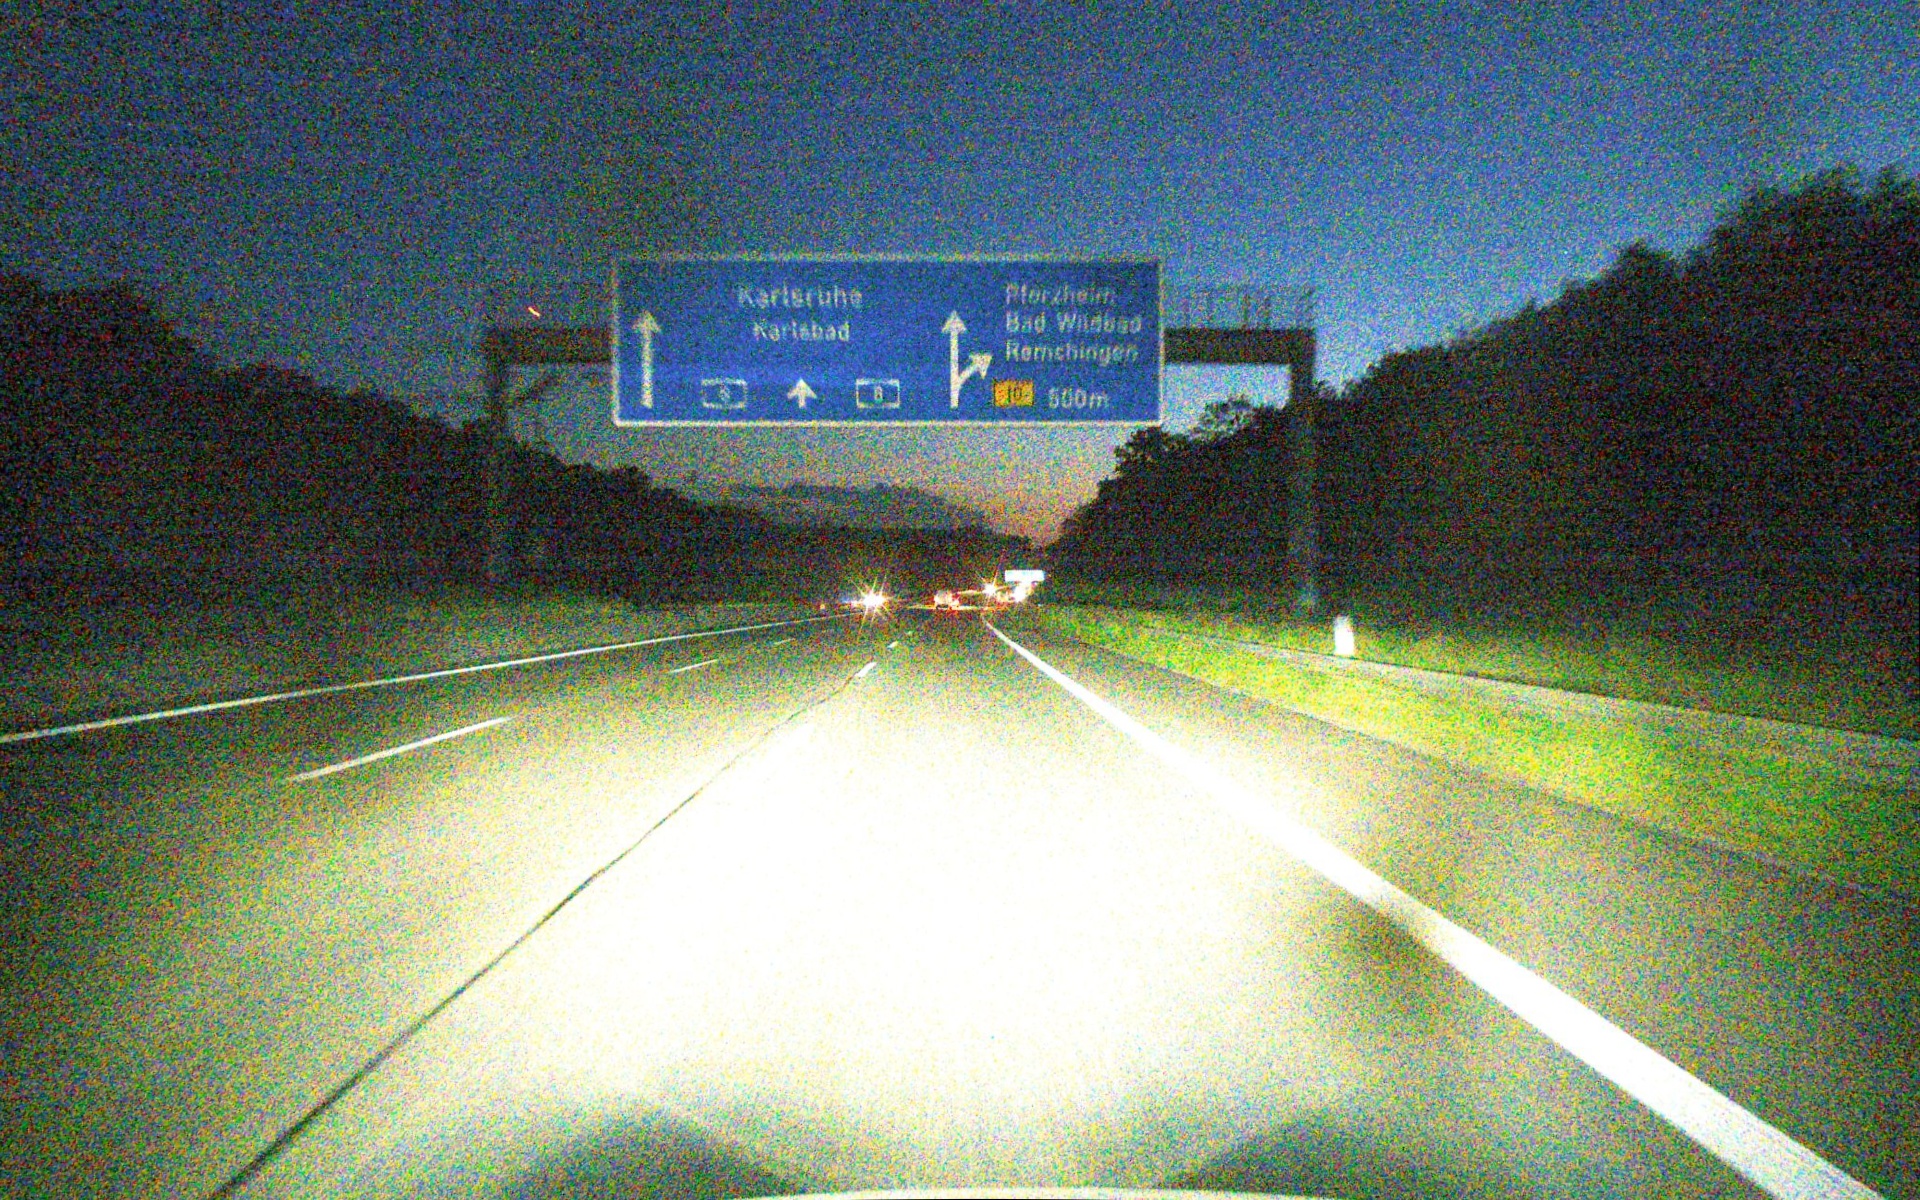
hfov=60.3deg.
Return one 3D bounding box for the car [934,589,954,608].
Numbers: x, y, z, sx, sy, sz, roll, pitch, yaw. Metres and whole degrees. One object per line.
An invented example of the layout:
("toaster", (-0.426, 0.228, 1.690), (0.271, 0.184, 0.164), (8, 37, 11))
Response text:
("car", (-2.050, -0.214, 214.348), (2.459, 2.354, 4.971), (1, 0, 2))
